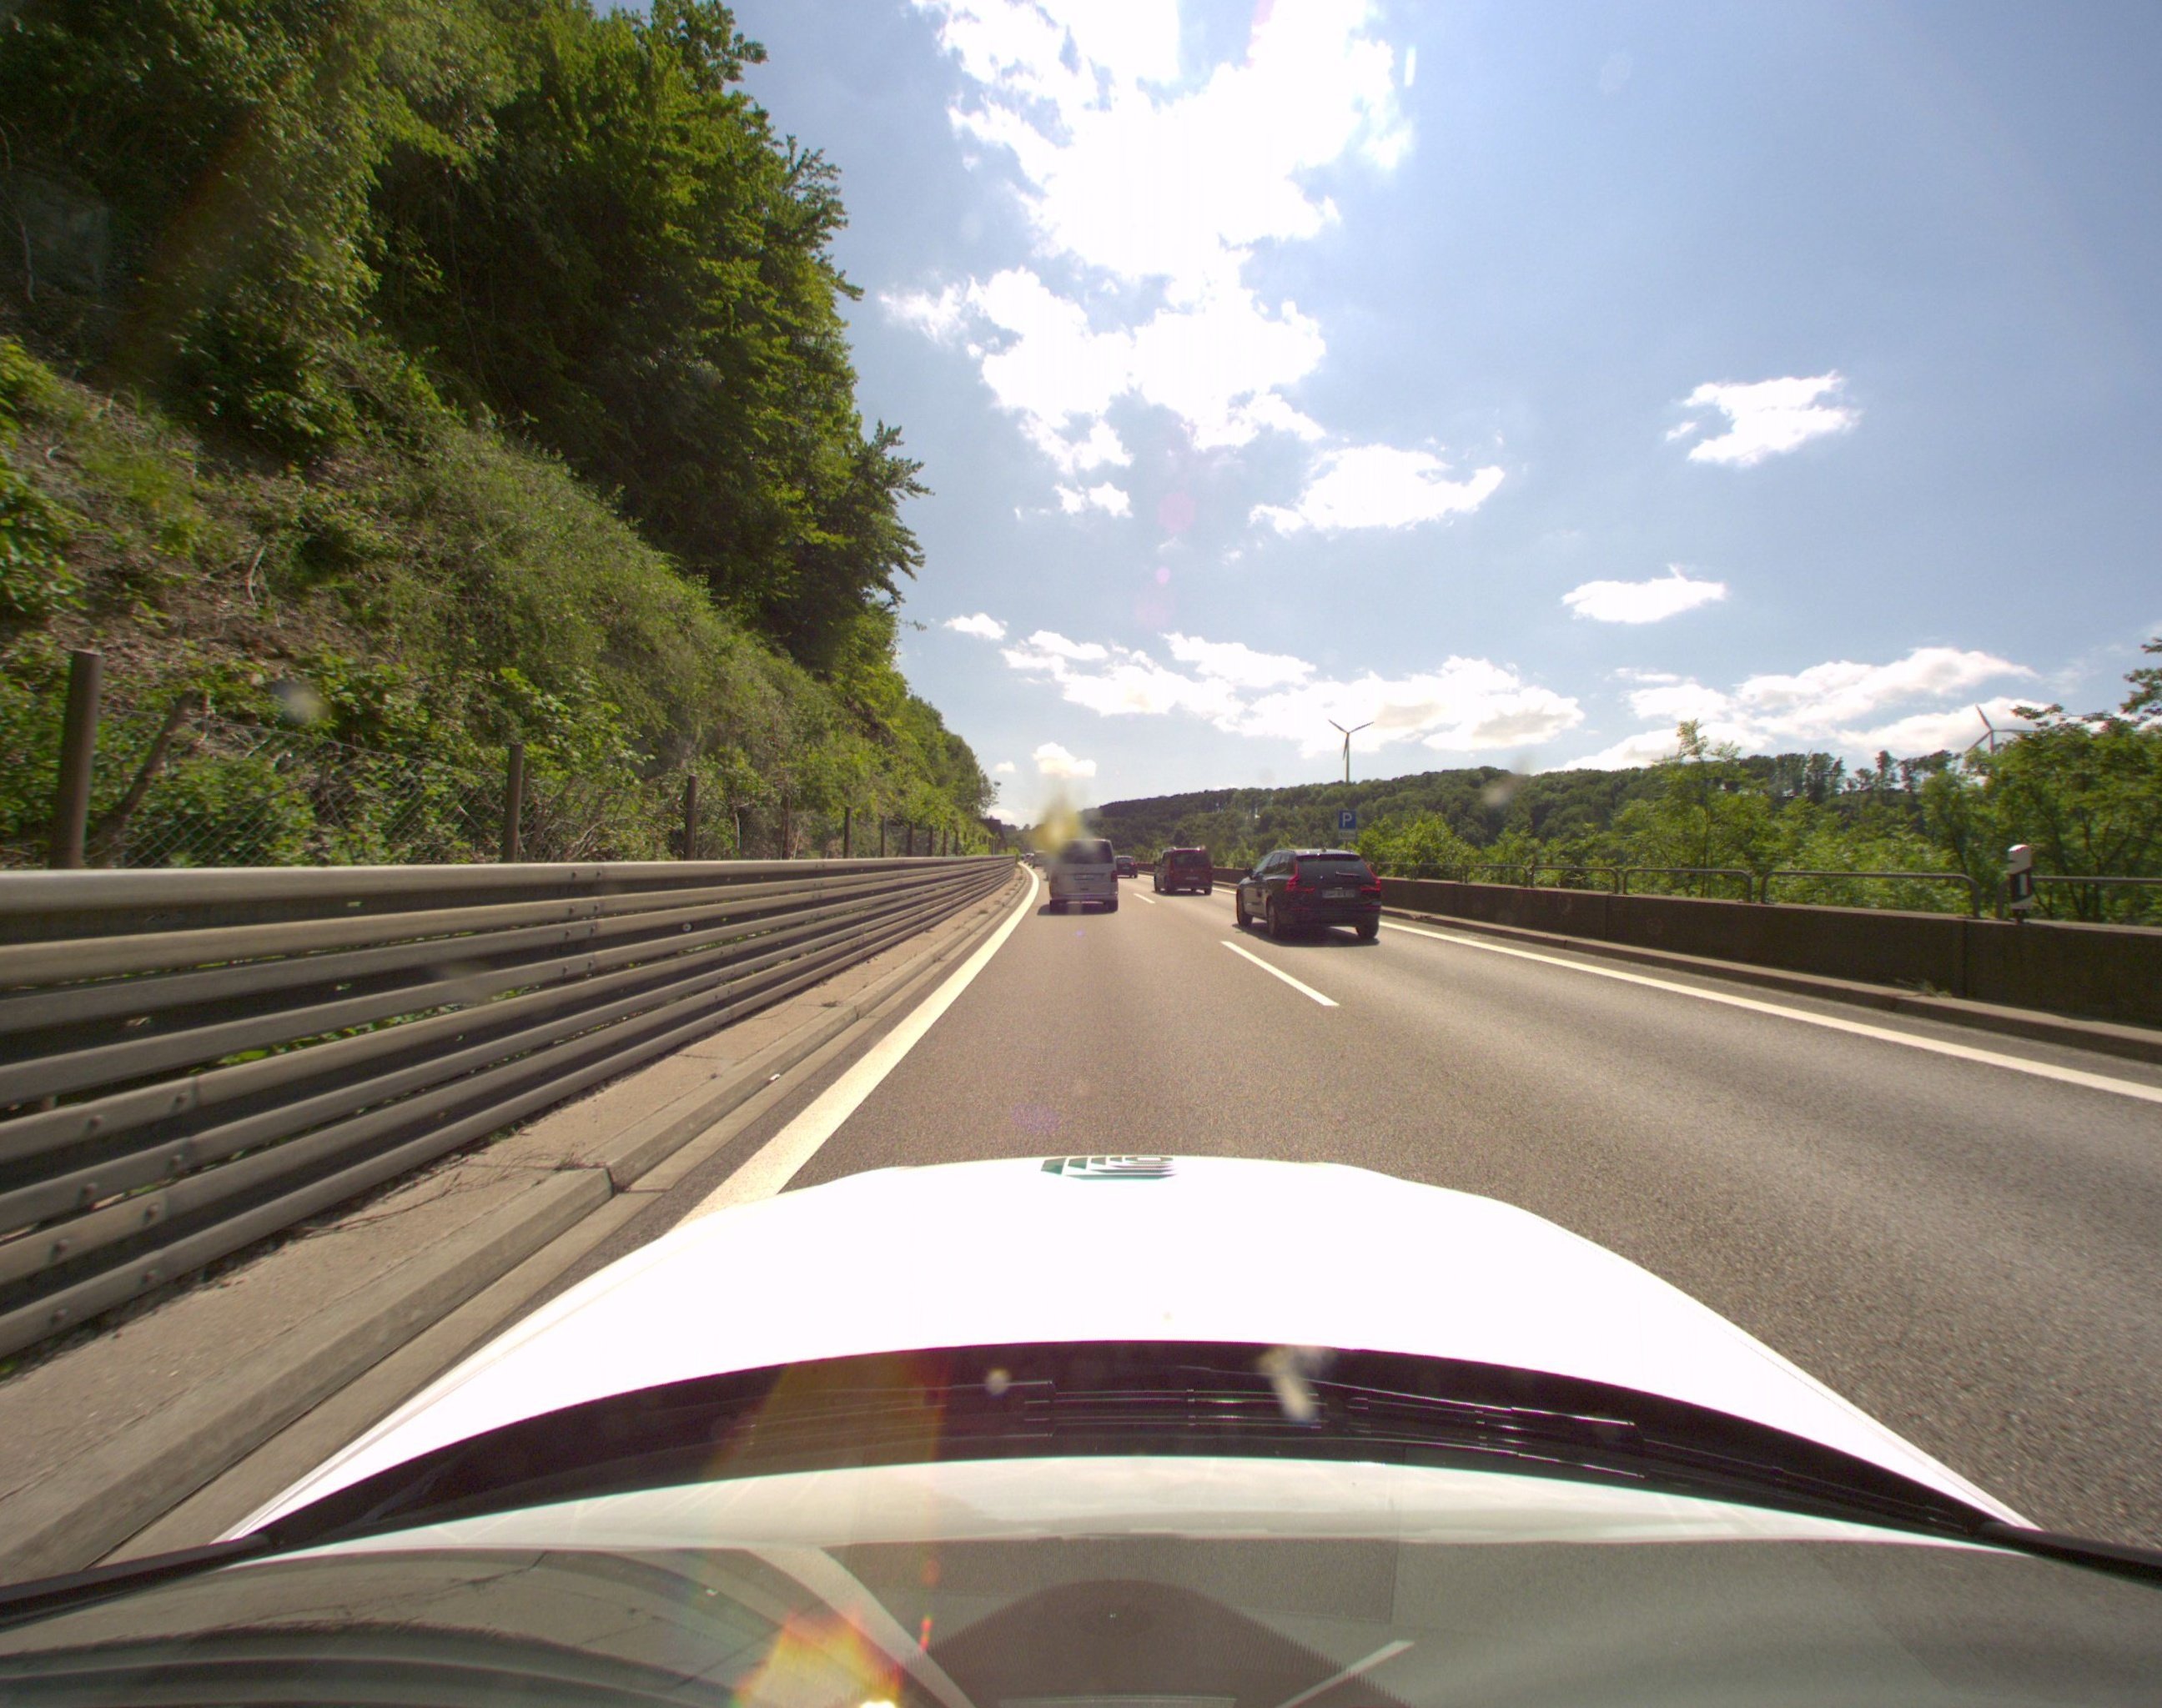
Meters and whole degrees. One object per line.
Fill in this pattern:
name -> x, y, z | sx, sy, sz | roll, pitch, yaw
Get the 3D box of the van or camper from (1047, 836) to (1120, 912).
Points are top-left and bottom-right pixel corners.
van or camper -> 0.013, 0.543, 23.444 | 1.870, 1.949, 4.291 | -1, -1, -2

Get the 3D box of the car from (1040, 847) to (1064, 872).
car -> -2.519, 0.469, 70.246 | 1.988, 2.014, 3.996 | -1, -1, -2

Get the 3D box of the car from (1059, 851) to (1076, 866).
car -> -1.877, 0.663, 114.009 | 1.992, 2.013, 3.989 | -1, 0, -8

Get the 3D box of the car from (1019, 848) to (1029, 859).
car -> -11.214, -0.061, 159.735 | 1.990, 2.014, 3.993 | -1, -1, -4

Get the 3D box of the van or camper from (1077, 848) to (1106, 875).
van or camper -> 0.966, 0.747, 80.637 | 2.261, 2.551, 4.725 | -1, 0, -7

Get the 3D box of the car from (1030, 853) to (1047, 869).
car -> -5.327, 0.818, 101.730 | 1.990, 1.915, 3.994 | 1, 0, -4

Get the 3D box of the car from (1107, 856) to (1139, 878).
car -> 2.800, 0.862, 54.806 | 1.765, 1.376, 3.588 | -1, 0, -4

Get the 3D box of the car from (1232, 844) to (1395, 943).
car -> 4.320, 0.663, 15.928 | 1.829, 1.633, 4.661 | -1, 0, 0

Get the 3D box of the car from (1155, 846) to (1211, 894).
car -> 4.072, 0.637, 33.145 | 1.826, 1.784, 4.678 | -1, -1, 2

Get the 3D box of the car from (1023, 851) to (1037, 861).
car -> -8.428, 0.275, 133.188 | 2.140, 1.607, 5.068 | 0, 0, -5

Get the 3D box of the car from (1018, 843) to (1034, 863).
car -> -14.211, -0.275, 211.586 | 4.034, 4.871, 10.098 | -1, 0, -3

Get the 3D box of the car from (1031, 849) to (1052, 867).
car -> -4.160, 0.420, 86.052 | 1.991, 1.817, 3.991 | 1, 0, -6

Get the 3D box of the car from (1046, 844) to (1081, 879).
car -> -1.067, 0.452, 48.997 | 1.988, 2.014, 3.997 | -1, 0, -2
